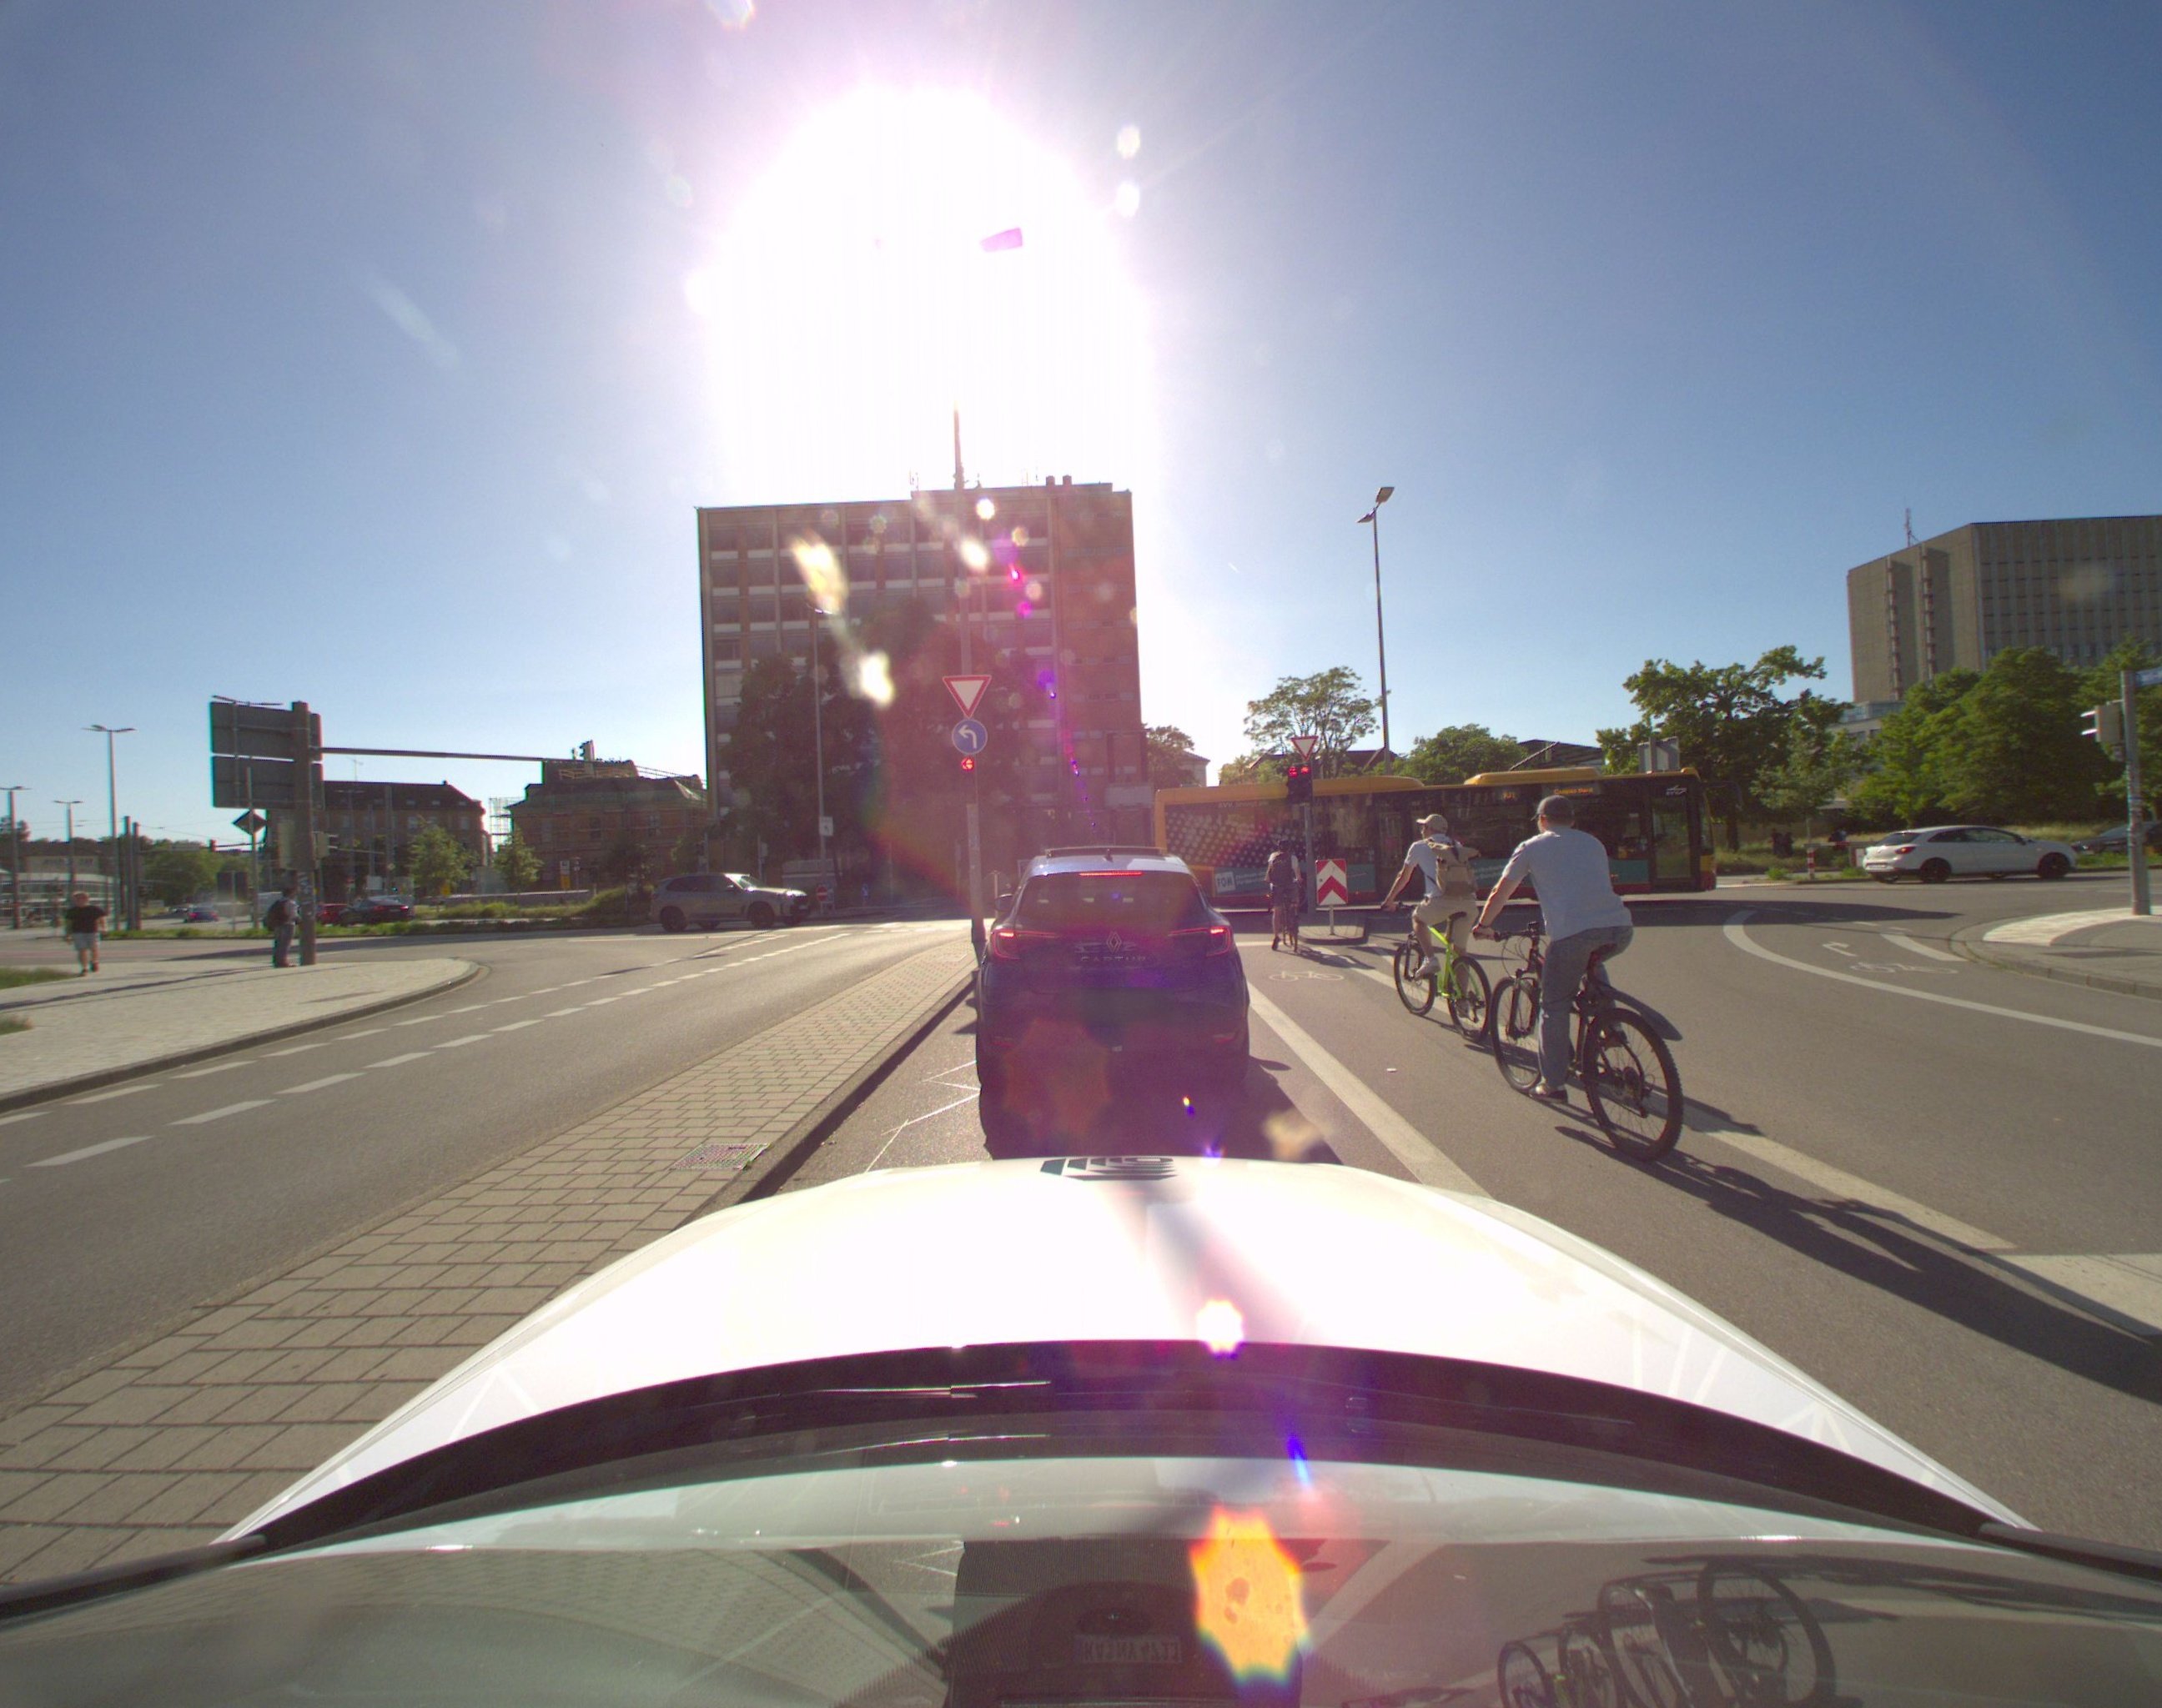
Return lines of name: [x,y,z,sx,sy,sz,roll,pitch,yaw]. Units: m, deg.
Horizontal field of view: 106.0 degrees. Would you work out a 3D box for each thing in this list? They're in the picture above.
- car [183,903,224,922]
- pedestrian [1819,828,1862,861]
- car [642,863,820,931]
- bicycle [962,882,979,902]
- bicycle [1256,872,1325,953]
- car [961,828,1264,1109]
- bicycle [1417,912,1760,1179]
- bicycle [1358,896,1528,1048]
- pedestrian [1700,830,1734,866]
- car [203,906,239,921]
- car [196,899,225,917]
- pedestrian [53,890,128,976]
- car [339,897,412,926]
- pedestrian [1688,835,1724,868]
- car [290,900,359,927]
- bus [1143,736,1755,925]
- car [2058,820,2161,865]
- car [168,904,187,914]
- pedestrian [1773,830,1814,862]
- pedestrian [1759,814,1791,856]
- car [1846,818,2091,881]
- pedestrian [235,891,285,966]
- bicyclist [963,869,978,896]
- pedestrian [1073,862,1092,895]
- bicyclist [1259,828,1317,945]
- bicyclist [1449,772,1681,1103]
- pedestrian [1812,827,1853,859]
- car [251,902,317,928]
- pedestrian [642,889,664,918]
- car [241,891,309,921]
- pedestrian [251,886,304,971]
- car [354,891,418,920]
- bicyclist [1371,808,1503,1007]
car: [-83.810,5.597,77.749,4.795,1.582,2.115,-3,0,37]
pedestrian: [37.209,-0.468,39.909,1.123,1.521,0.992,-2,-1,5]
car: [-10.848,1.327,25.394,4.697,1.861,2.011,-3,-1,10]
bicycle: [-5.966,2.061,44.074,0.699,1.007,1.859,-3,-3,-13]
bicycle: [3.296,0.887,12.971,0.613,1.138,1.826,-2,0,0]
car: [0.222,0.680,6.796,1.788,1.655,3.853,-1,0,1]
bicycle: [2.701,0.936,4.654,0.745,1.050,1.903,-3,0,0]
bicycle: [3.044,0.940,7.070,0.669,1.050,1.844,0,0,1]
pedestrian: [31.694,-0.284,40.609,0.957,1.732,0.928,-2,-1,9]
car: [-91.540,6.339,86.682,4.005,1.439,2.079,-3,0,35]
car: [-115.323,7.147,107.970,2.078,2.013,3.952,-7,1,-41]
pedestrian: [-22.409,1.759,18.424,0.856,1.845,0.847,-3,-1,25]
car: [-42.388,3.453,48.906,3.771,1.518,2.012,-3,-1,27]
pedestrian: [30.600,-0.117,39.880,1.069,1.521,0.880,-2,-1,6]
car: [-47.962,3.780,51.640,3.771,1.518,2.012,-3,-1,27]
bus: [7.958,-0.352,19.524,12.330,3.570,3.263,-2,0,15]
car: [39.396,-0.456,30.119,3.965,1.570,1.840,-2,-1,7]
car: [-166.183,10.165,149.799,3.950,1.673,2.012,-3,-1,45]
pedestrian: [35.401,-0.380,40.473,1.140,1.521,0.944,-2,-1,7]
pedestrian: [35.467,-0.954,41.631,0.891,2.079,0.814,-2,-1,5]
car: [22.556,-0.098,20.869,3.962,1.373,1.765,-2,0,10]
pedestrian: [-19.258,1.731,19.097,0.627,1.697,0.608,-3,-1,25]
bicyclist: [-5.986,1.563,44.117,0.648,1.412,0.635,-2,-3,-14]
pedestrian: [0.089,1.421,47.285,0.926,1.855,0.809,-3,-1,11]
bicyclist: [3.285,0.502,12.990,0.674,1.785,0.939,-1,-1,0]
bicyclist: [2.686,0.430,4.626,0.737,1.674,0.865,-2,-1,0]
pedestrian: [37.363,-0.534,40.491,1.138,1.521,0.880,-3,-1,5]
car: [-53.581,4.088,54.755,3.771,1.518,2.012,-3,-1,27]
pedestrian: [-30.244,3.494,57.511,0.816,2.013,1.021,-3,-1,25]
car: [-74.943,4.830,75.686,6.867,2.547,3.032,-3,-1,33]
pedestrian: [-18.183,1.672,18.439,0.673,1.855,0.608,-3,-1,25]
car: [-52.039,3.842,60.943,4.951,2.013,2.085,-3,-1,31]
bicyclist: [3.038,0.430,7.046,0.672,1.583,1.081,0,0,1]
